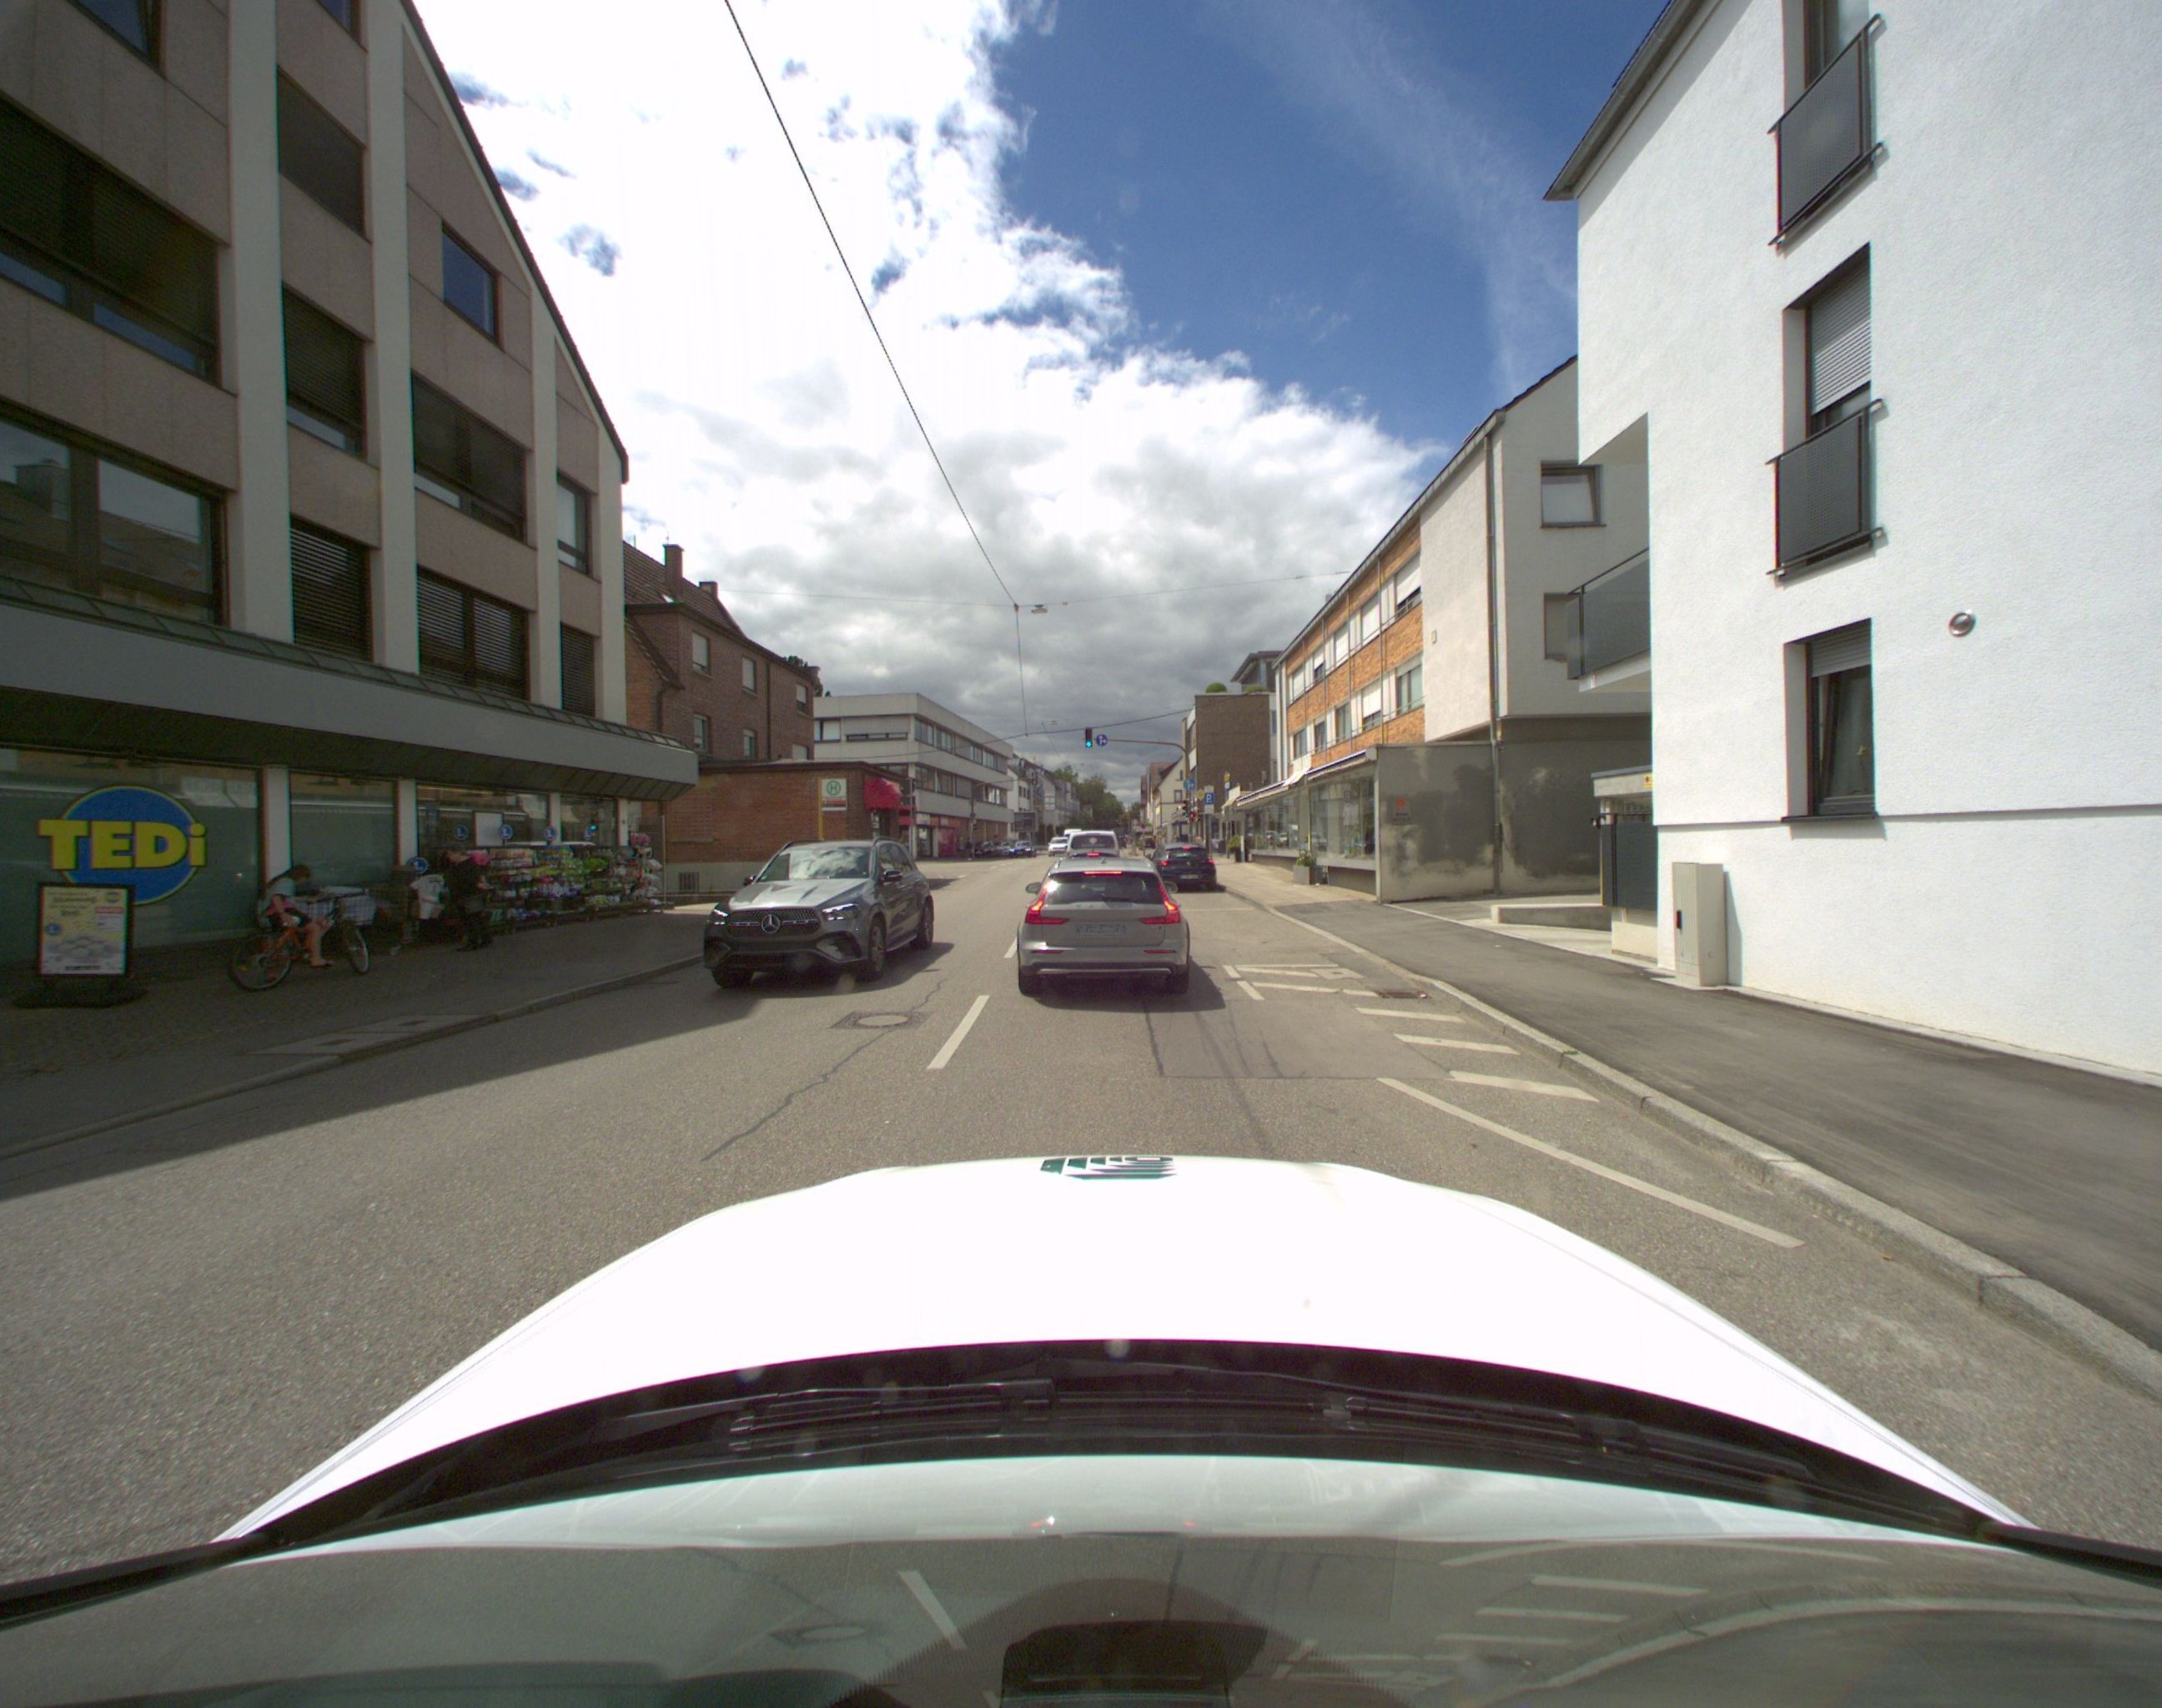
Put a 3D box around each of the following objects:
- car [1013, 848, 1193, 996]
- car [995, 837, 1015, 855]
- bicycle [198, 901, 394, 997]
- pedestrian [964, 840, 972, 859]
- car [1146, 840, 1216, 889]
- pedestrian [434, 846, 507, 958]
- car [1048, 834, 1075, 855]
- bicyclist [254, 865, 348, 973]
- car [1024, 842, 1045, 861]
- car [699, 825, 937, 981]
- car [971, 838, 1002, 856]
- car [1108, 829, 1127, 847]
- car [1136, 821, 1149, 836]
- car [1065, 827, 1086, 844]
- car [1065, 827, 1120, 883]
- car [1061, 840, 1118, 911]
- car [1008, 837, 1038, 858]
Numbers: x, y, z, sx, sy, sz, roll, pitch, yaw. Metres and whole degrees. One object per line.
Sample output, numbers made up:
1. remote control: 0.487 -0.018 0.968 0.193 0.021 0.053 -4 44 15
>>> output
1. car: 0.293 0.701 10.025 1.737 1.417 4.002 -1 -1 2
2. car: -6.865 -0.694 73.977 1.379 1.541 3.400 -1 -2 2
3. bicycle: -8.835 1.026 9.277 0.465 0.861 1.778 0 1 2
4. pedestrian: -8.606 -0.356 61.770 0.515 1.436 0.487 -1 -1 -17
5. car: 3.082 0.271 25.740 1.747 1.371 4.001 -1 1 1
6. pedestrian: -8.970 0.701 11.989 0.625 1.603 0.563 -1 -1 6
7. car: -1.663 -0.778 69.857 1.864 1.640 4.005 0 -1 5
8. bicyclist: -8.862 0.715 9.270 0.456 1.179 0.625 -1 -1 2
9. car: -5.343 -0.253 93.887 1.985 2.014 4.003 0 -1 3
10. car: -3.358 0.578 11.363 1.833 1.726 4.351 -1 -1 0
11. car: -7.876 -0.553 68.193 1.985 1.398 4.002 0 -1 3
12. car: 4.858 -2.138 109.557 2.427 2.318 5.329 0 -1 2
13. car: 9.338 -3.909 123.259 1.795 2.014 4.002 -1 -2 2
14. car: -0.512 -1.935 86.360 1.864 1.640 4.004 -1 -2 5
15. car: 0.470 -0.001 29.346 1.829 1.861 3.853 0 1 2
16. car: 0.239 0.458 20.024 1.269 1.527 3.052 -1 2 2
17. car: -4.792 -0.499 67.999 1.864 1.640 4.005 0 -1 5
